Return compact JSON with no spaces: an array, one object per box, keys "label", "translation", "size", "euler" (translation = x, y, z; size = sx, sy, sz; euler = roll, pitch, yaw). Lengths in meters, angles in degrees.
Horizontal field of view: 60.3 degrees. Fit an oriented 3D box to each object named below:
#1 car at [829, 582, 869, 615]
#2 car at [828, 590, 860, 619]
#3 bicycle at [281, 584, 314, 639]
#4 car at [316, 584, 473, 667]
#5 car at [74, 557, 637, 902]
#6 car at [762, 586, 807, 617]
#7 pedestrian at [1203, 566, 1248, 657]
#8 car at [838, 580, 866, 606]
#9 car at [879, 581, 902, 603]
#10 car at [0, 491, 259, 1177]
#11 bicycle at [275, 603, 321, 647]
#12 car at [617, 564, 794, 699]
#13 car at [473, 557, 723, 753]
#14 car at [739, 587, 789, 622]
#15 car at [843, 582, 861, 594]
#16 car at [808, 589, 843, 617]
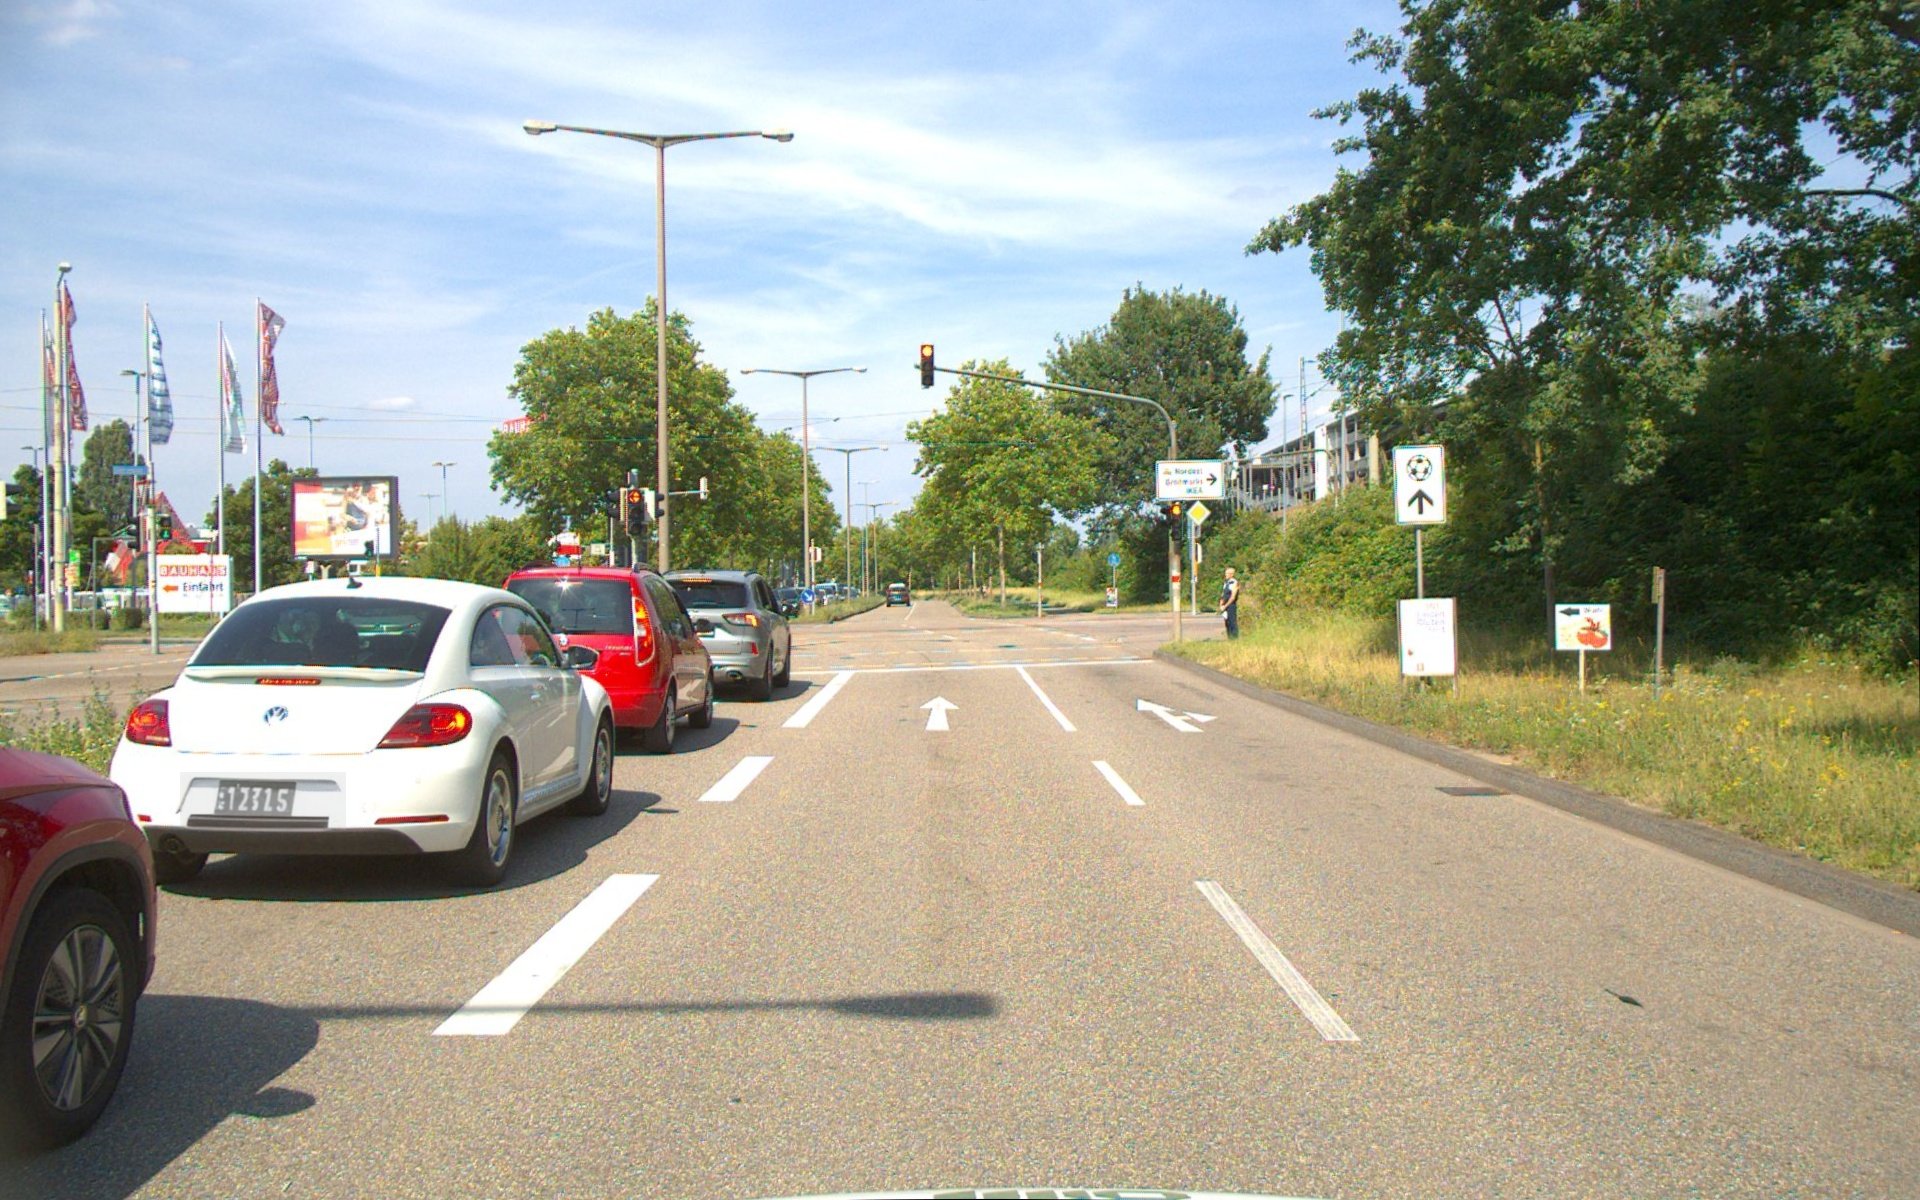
[{"label":"car","translation":[-5.942,-0.090,89.232],"size":[1.953,1.725,3.999],"euler":[-1,1,-1]},{"label":"car","translation":[-7.952,0.274,113.427],"size":[1.953,1.928,4.374],"euler":[-1,1,-2]},{"label":"bicycle","translation":[-20.151,0.348,50.314],"size":[0.659,1.643,0.991],"euler":[-1,0,-6]},{"label":"car","translation":[-11.213,0.466,33.082],"size":[1.739,1.496,4.000],"euler":[-2,1,0]},{"label":"car","translation":[-3.062,0.554,9.352],"size":[1.730,1.505,4.135],"euler":[1,0,-1]},{"label":"car","translation":[-8.951,0.056,84.720],"size":[1.953,1.527,3.999],"euler":[-1,1,-1]},{"label":"pedestrian","translation":[5.848,0.239,36.516],"size":[0.821,1.966,0.771],"euler":[0,2,-4]},{"label":"car","translation":[-8.428,-0.570,129.281],"size":[1.953,1.928,4.375],"euler":[-1,1,-1]},{"label":"car","translation":[-5.508,-0.665,132.217],"size":[1.701,1.562,4.001],"euler":[0,3,-1]},{"label":"car","translation":[-3.121,0.558,3.089],"size":[1.746,1.620,4.592],"euler":[0,1,-1]},{"label":"bicycle","translation":[-20.127,0.741,50.335],"size":[0.659,1.278,2.244],"euler":[-1,0,-6]},{"label":"car","translation":[-3.345,0.375,22.505],"size":[1.843,1.646,4.211],"euler":[0,0,-1]},{"label":"car","translation":[-3.318,0.479,15.845],"size":[1.595,1.623,3.917],"euler":[-1,-1,-1]},{"label":"car","translation":[-9.064,0.169,76.724],"size":[1.880,1.539,3.999],"euler":[-1,1,-1]},{"label":"car","translation":[-16.414,-1.780,251.599],"size":[1.836,1.724,4.389],"euler":[-1,1,-17]},{"label":"car","translation":[-8.185,0.165,101.102],"size":[1.864,1.624,3.999],"euler":[-1,1,-1]}]
